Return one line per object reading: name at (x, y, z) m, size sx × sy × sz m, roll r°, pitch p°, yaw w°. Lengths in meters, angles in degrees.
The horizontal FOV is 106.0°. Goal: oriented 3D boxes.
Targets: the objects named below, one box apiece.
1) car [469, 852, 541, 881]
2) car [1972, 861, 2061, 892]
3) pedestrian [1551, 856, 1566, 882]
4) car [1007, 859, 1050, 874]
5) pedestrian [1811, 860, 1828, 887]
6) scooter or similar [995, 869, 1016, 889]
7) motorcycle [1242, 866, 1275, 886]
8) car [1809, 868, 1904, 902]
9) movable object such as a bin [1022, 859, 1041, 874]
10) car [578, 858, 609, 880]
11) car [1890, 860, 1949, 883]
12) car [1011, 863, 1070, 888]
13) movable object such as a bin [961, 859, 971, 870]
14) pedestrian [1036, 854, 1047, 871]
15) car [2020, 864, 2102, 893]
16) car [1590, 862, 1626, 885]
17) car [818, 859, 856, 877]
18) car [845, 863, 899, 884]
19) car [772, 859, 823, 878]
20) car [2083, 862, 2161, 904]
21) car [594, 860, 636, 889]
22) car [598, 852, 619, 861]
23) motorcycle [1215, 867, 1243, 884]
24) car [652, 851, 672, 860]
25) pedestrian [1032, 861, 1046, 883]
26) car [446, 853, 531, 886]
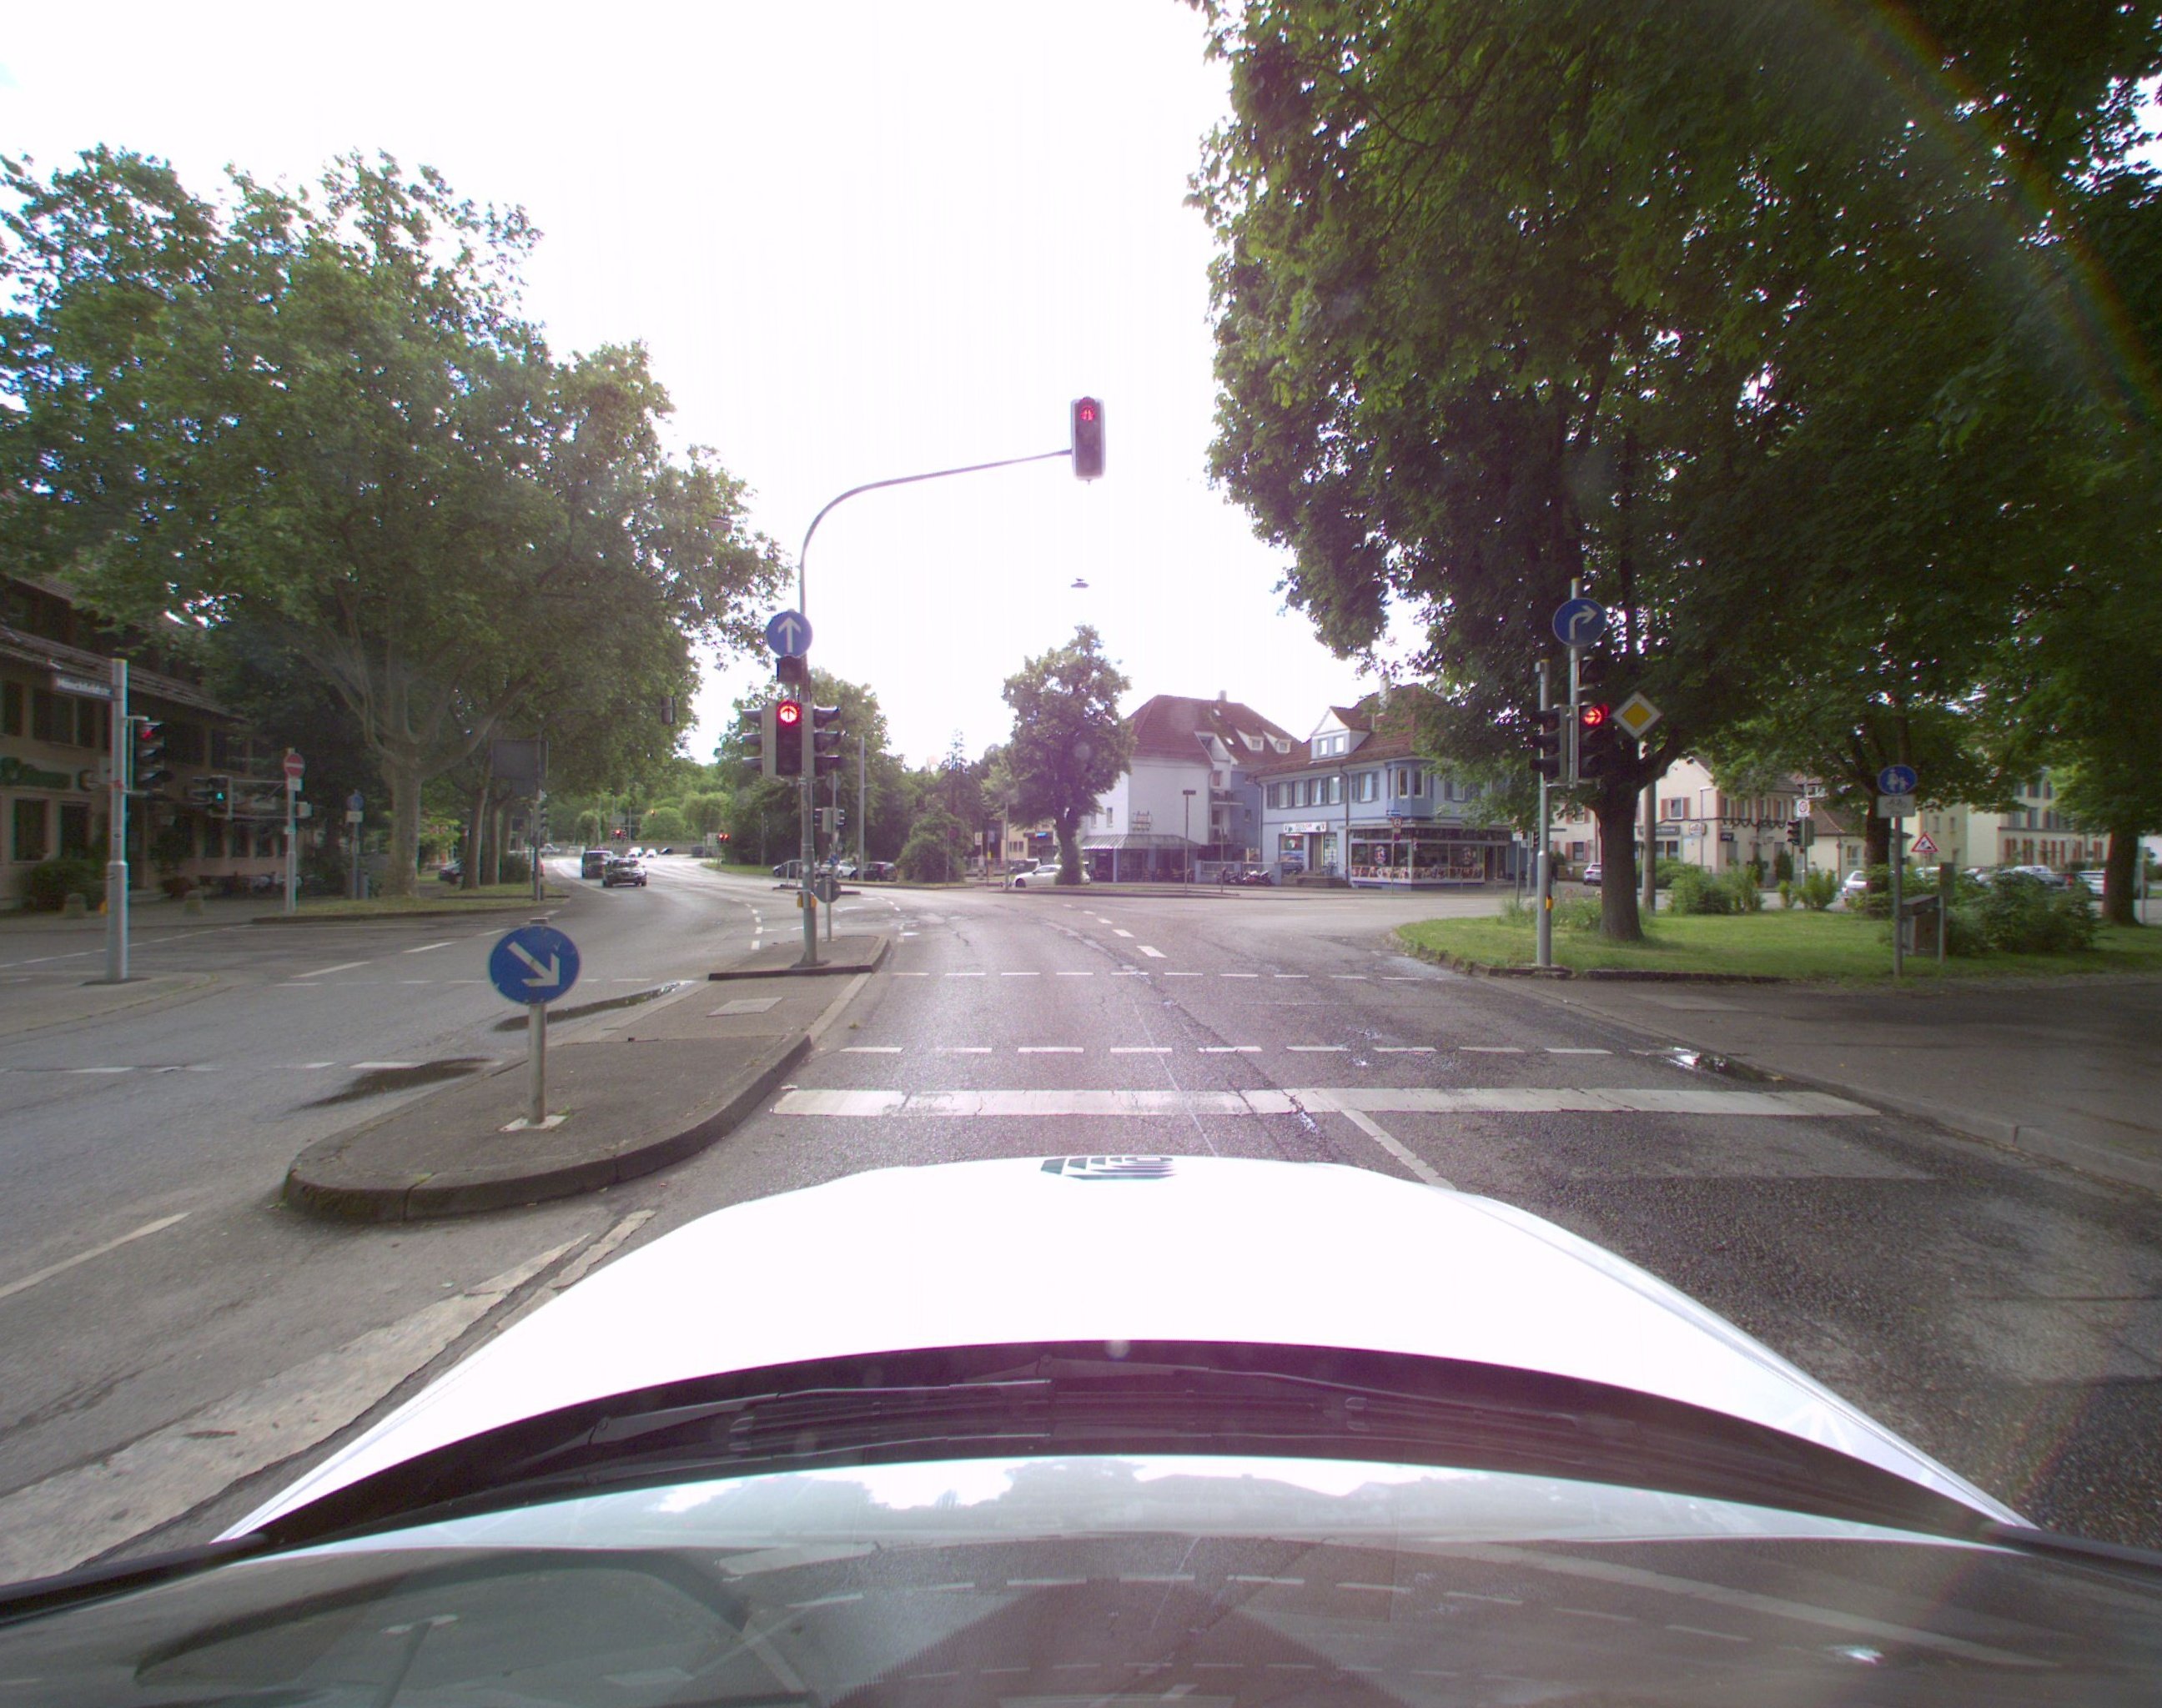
car at (-35.486, 0.761, 50.284) m, size 3.461 × 1.742 × 1.557 m, roll 0°, pitch -1°, yaw -31°
car at (42.213, 0.978, 36.750) m, size 3.510 × 1.321 × 1.549 m, roll 0°, pitch 0°, yaw -21°
pedestrian at (28.314, 0.901, 48.287) m, size 0.584 × 1.517 × 0.459 m, roll -1°, pitch -1°, yaw -3°
car at (-4.883, 1.138, 76.156) m, size 3.752 × 1.345 × 1.422 m, roll 0°, pitch 0°, yaw -25°
pedestrian at (44.945, 1.172, 49.574) m, size 0.611 × 1.649 × 0.606 m, roll 0°, pitch -1°, yaw -27°
scooter or similar at (-3.980, 1.293, 42.881) m, size 0.413 × 1.011 × 1.575 m, roll -1°, pitch -1°, yaw 22°
motorcycle at (10.533, 1.290, 48.263) m, size 1.777 × 1.121 × 0.699 m, roll 0°, pitch -1°, yaw 40°
car at (31.960, 1.254, 33.567) m, size 3.511 × 1.321 × 1.549 m, roll 0°, pitch 0°, yaw -22°
movable object such as a bin at (-4.525, 1.137, 74.249) m, size 1.447 × 1.409 × 0.959 m, roll 0°, pitch -1°, yaw -25°
car at (-33.411, 1.034, 55.805) m, size 1.440 × 1.416 × 2.838 m, roll 0°, pitch -1°, yaw -39°
car at (55.113, 1.128, 53.527) m, size 4.007 × 1.420 × 1.544 m, roll 0°, pitch 0°, yaw -26°
car at (-2.311, 1.205, 46.238) m, size 3.134 × 1.354 × 1.448 m, roll 0°, pitch -1°, yaw 36°
movable object such as a bin at (-12.222, 1.123, 86.639) m, size 0.953 × 1.115 × 0.381 m, roll 0°, pitch -1°, yaw -19°
pedestrian at (-3.658, 0.814, 75.435) m, size 0.699 × 1.545 × 0.682 m, roll -1°, pitch -1°, yaw 40°
car at (47.000, 1.168, 39.057) m, size 3.511 × 1.321 × 1.549 m, roll 0°, pitch 0°, yaw -22°
car at (32.600, 1.186, 50.339) m, size 1.481 × 1.369 × 3.198 m, roll -1°, pitch -1°, yaw 40°
car at (-20.081, 1.134, 67.187) m, size 1.534 × 1.464 × 3.407 m, roll 0°, pitch 0°, yaw 13°
car at (-13.909, 1.270, 54.206) m, size 3.549 × 1.394 × 1.481 m, roll 0°, pitch -1°, yaw 34°
car at (-22.440, 1.118, 64.485) m, size 3.520 × 1.464 × 1.591 m, roll 0°, pitch 0°, yaw 14°
car at (52.828, 1.436, 41.123) m, size 4.004 × 2.014 × 1.770 m, roll 0°, pitch -1°, yaw -23°
car at (-24.304, 1.052, 42.431) m, size 1.440 × 1.416 × 2.838 m, roll 0°, pitch -1°, yaw -39°
car at (-106.175, 0.499, 183.031) m, size 4.011 × 2.014 × 1.981 m, roll 0°, pitch -1°, yaw -29°
motorcycle at (9.111, 1.316, 50.077) m, size 0.699 × 1.064 × 1.617 m, roll 0°, pitch -1°, yaw -44°
car at (-95.495, 0.441, 185.606) m, size 4.011 × 2.014 × 1.981 m, roll 0°, pitch -1°, yaw -29°
pedestrian at (-2.986, 1.260, 57.956) m, size 0.759 × 1.545 × 0.682 m, roll -1°, pitch -1°, yaw 41°
car at (-31.004, 0.788, 42.718) m, size 3.461 × 1.641 × 1.557 m, roll 0°, pitch -1°, yaw -31°
